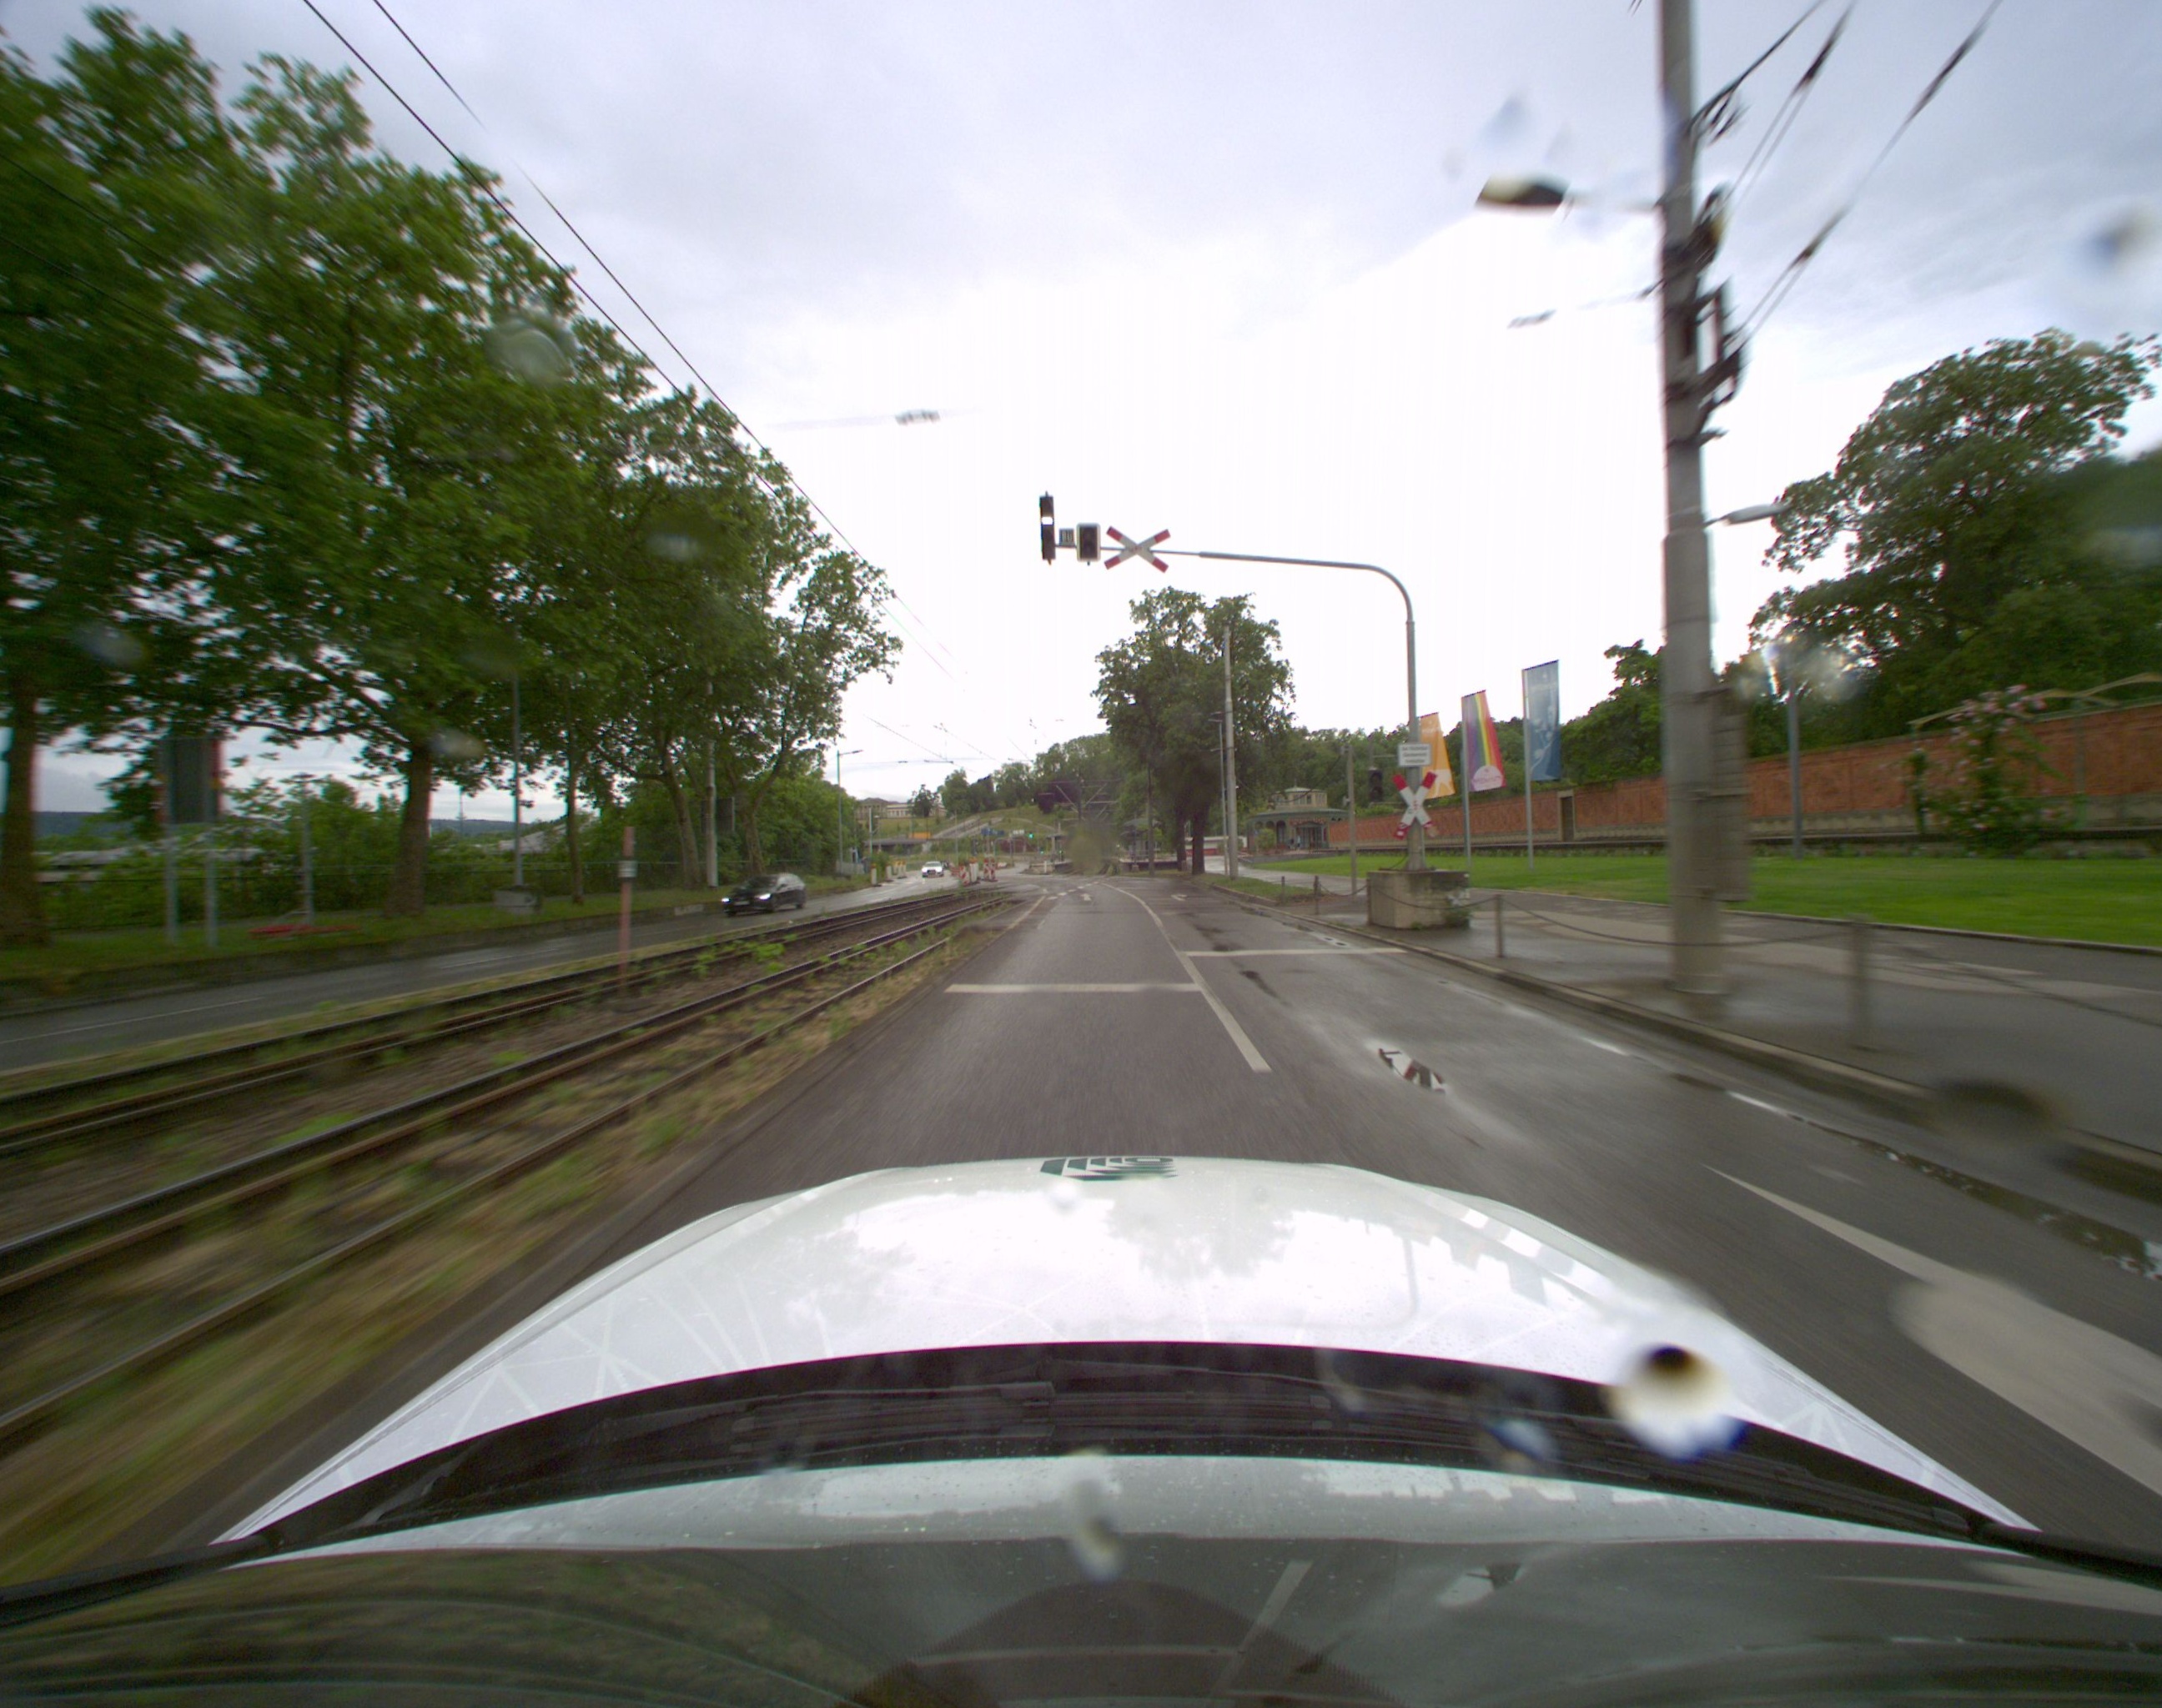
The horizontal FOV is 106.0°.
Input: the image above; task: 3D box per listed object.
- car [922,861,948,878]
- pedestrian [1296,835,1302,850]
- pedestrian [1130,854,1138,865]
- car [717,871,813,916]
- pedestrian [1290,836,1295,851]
[{"bbox_3d":[-13.840,1.456,77.168,1.704,1.499,4.715,-3,0,-2],"label":"car"},{"bbox_3d":[24.368,-1.284,91.046,0.544,1.657,0.472,-2,-2,36],"label":"pedestrian"},{"bbox_3d":[5.463,0.533,84.146,0.601,1.119,0.518,2,-2,-14],"label":"pedestrian"},{"bbox_3d":[-11.865,1.429,30.947,1.740,1.430,4.561,-3,0,1],"label":"car"},{"bbox_3d":[23.826,-1.194,91.726,0.527,1.711,0.698,0,-2,13],"label":"pedestrian"}]
